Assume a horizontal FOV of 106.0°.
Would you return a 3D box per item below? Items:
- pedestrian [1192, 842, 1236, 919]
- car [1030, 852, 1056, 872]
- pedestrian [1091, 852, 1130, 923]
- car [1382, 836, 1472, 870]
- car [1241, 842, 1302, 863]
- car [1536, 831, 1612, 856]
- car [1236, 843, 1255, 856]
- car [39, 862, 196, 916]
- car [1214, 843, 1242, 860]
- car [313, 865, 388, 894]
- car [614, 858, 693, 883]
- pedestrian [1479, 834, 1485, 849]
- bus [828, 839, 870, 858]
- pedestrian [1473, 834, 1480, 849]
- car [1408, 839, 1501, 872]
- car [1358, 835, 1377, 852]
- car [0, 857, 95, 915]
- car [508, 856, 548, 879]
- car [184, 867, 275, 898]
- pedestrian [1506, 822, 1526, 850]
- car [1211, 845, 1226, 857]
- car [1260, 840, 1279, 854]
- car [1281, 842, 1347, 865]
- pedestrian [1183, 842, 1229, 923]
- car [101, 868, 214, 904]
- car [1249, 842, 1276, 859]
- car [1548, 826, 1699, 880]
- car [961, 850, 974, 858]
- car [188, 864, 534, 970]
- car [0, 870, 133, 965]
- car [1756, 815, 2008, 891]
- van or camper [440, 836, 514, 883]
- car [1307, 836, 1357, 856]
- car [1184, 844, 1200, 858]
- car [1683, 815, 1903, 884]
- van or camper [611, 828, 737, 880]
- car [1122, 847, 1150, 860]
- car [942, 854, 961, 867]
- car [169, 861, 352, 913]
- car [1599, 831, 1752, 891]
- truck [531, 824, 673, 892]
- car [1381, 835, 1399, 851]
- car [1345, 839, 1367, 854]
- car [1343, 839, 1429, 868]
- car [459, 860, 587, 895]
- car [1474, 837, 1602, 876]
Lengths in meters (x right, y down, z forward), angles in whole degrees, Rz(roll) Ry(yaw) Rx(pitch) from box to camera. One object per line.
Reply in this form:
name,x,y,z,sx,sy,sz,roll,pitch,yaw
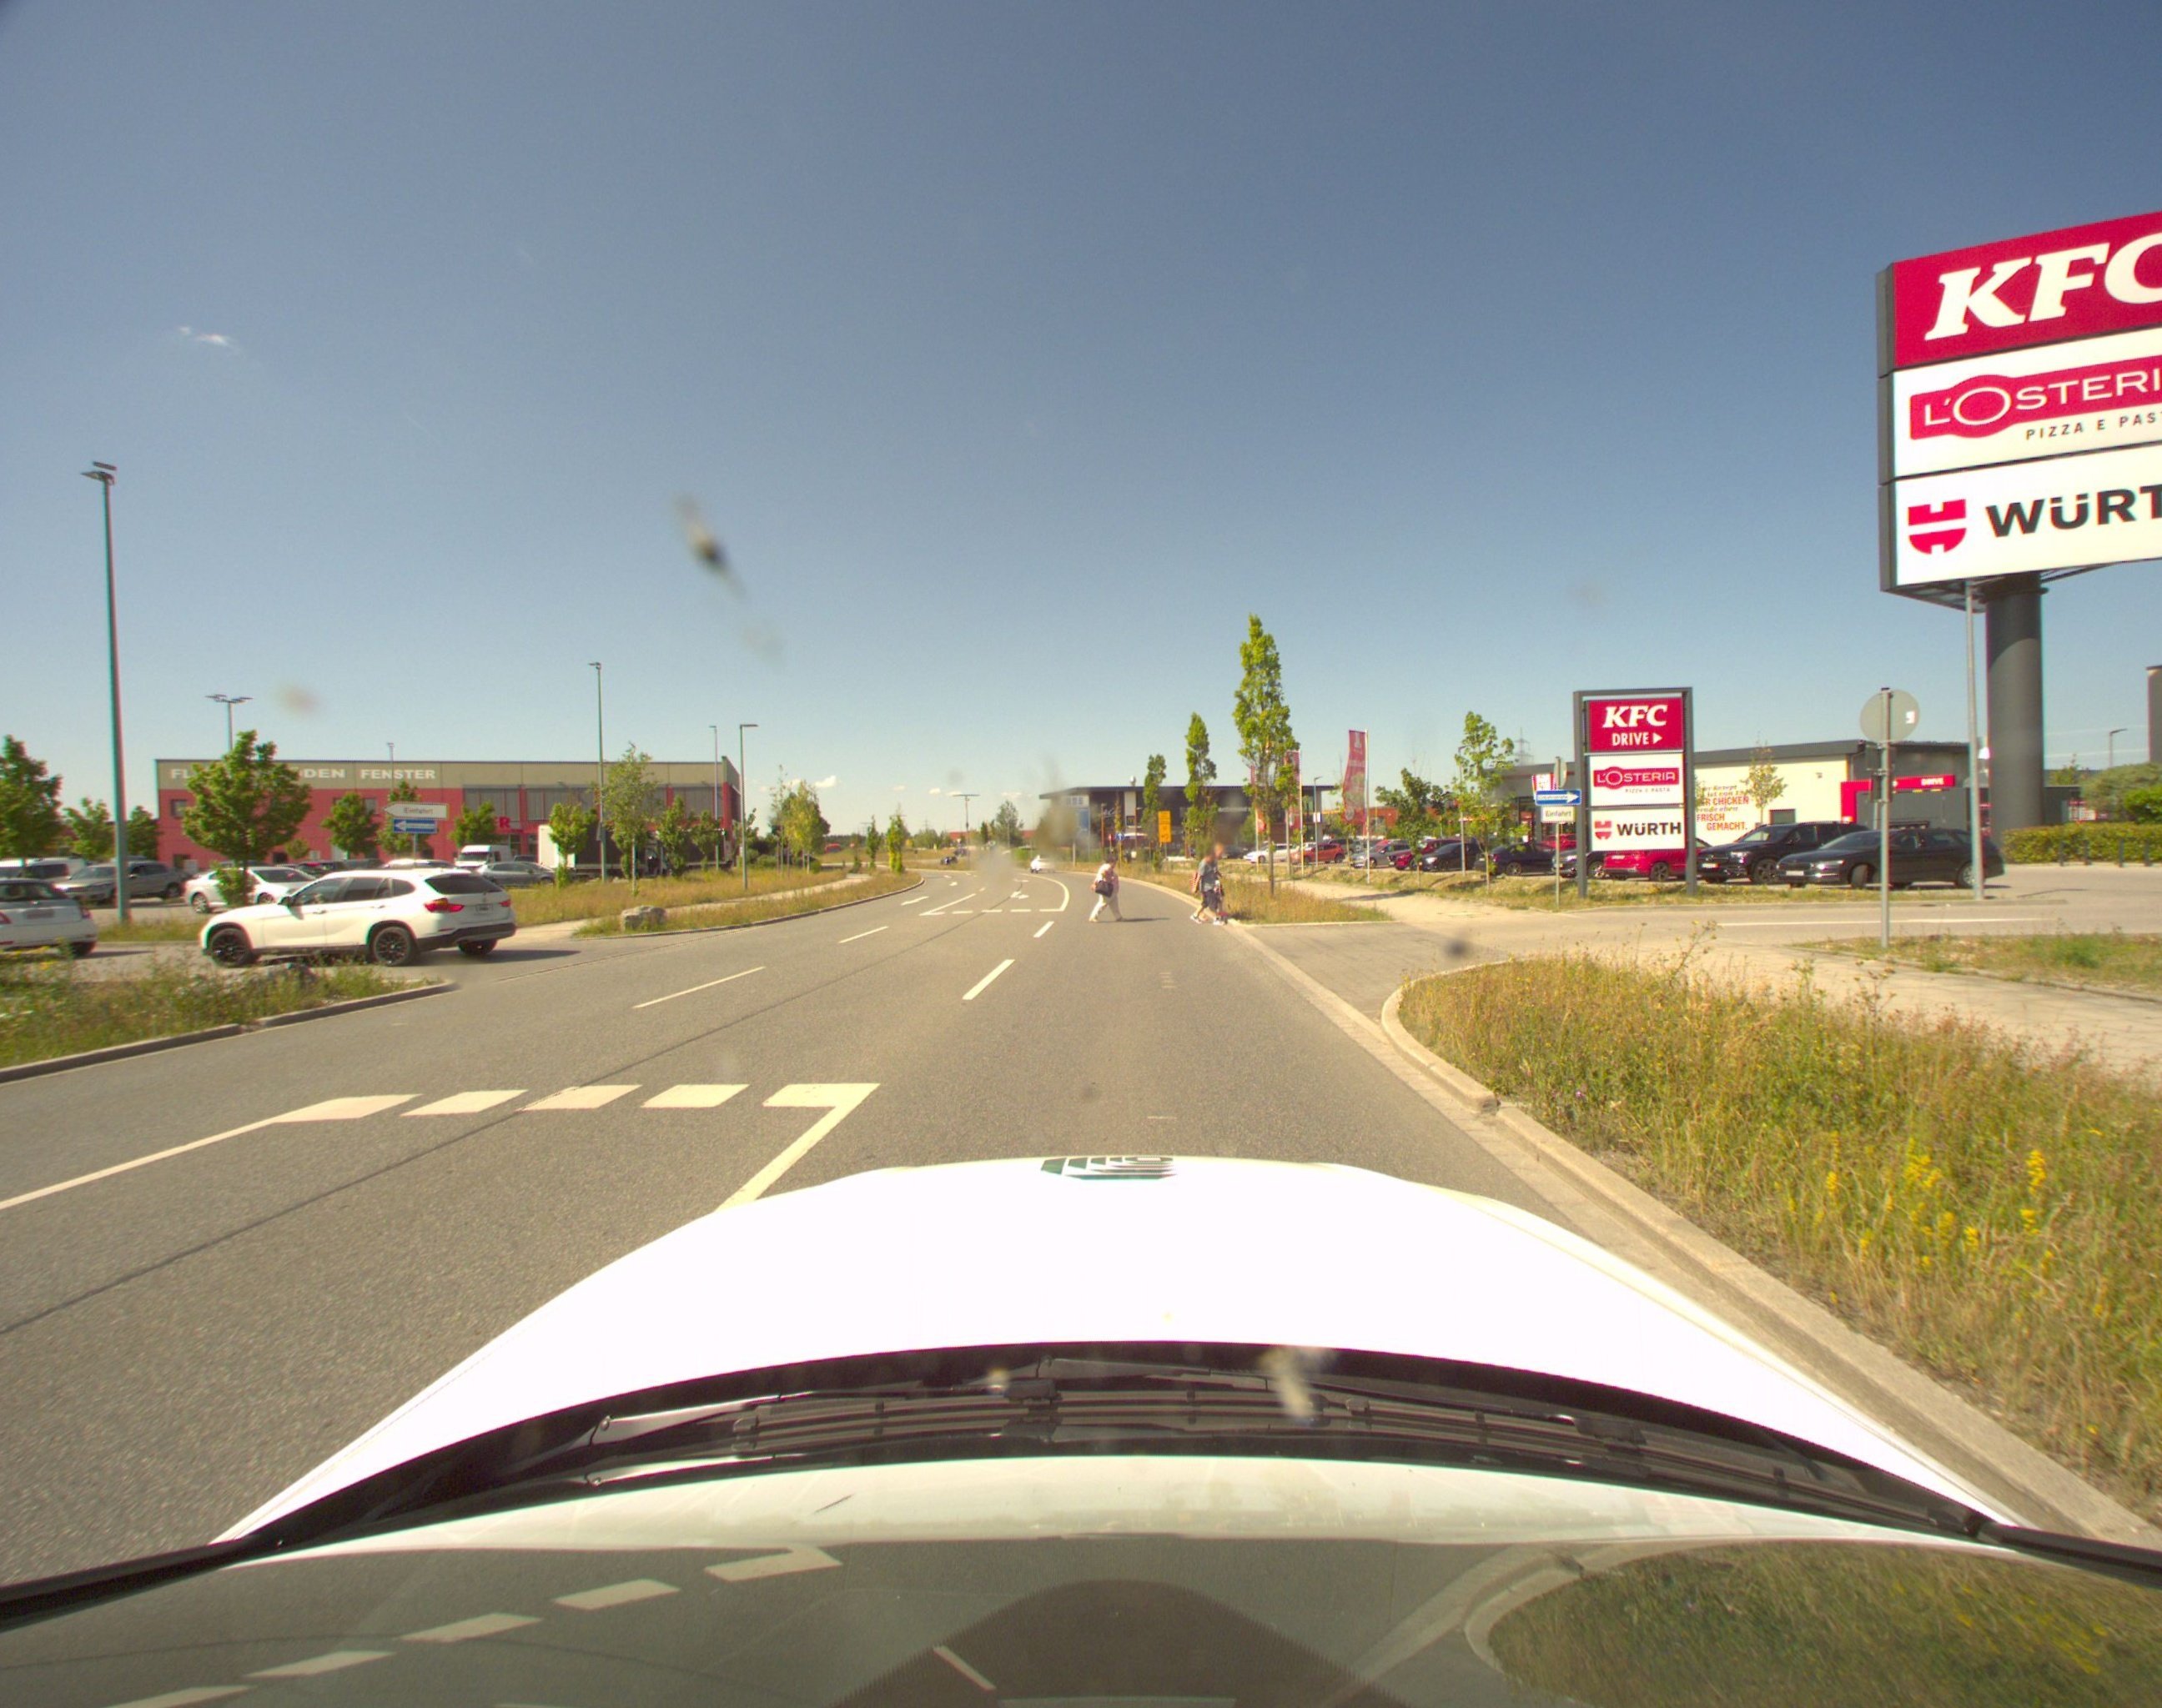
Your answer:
pedestrian,2.868,0.556,17.636,0.798,1.629,0.805,-1,0,1
car,-2.943,0.592,62.605,1.615,1.434,3.782,-2,0,-8
pedestrian,0.619,0.697,17.484,0.790,1.470,0.949,-1,0,1
car,19.037,-0.072,44.850,4.148,1.665,1.865,-3,1,-6
car,15.577,-0.124,66.694,4.531,1.490,1.860,-2,1,-14
car,32.468,-0.709,53.593,4.572,1.431,1.856,-3,1,-21
car,20.891,-0.553,103.213,1.777,1.513,4.020,-2,0,20
car,-36.751,1.260,31.248,1.837,1.823,4.354,-2,0,-19
car,13.982,-0.221,77.096,1.682,1.462,4.192,-2,0,23
car,-42.705,1.443,47.736,1.839,1.562,4.350,-2,0,-21
car,-28.827,1.090,55.008,4.376,1.552,1.828,-2,0,-16
pedestrian,34.722,-1.105,70.521,0.381,1.240,0.290,-2,0,-22
bus,-46.211,-1.198,162.918,2.769,3.078,12.243,-2,2,11
pedestrian,34.046,-1.087,70.092,0.381,1.240,0.290,-2,0,-22
car,19.451,0.057,42.419,4.157,1.449,1.784,-3,1,-12
car,32.747,-1.221,93.130,1.770,1.757,4.192,-2,0,23
car,-39.346,1.156,29.962,1.837,2.064,4.354,-2,0,-19
car,-42.630,1.054,62.856,1.667,1.671,4.053,-2,0,-22
car,-47.857,1.574,45.900,1.839,1.562,4.350,-2,0,-21
pedestrian,32.691,-1.354,61.158,0.915,2.013,0.886,-2,0,-17
car,17.258,-0.422,102.158,1.781,1.434,4.012,-2,0,11
car,24.312,-0.917,104.933,1.777,1.702,4.021,-2,0,21
car,16.979,-0.074,59.333,4.209,1.490,1.860,-2,1,-14
pedestrian,2.578,0.568,16.825,0.806,1.628,0.866,-1,0,1
car,-45.502,1.548,40.257,1.839,1.562,4.350,-2,0,-21
car,17.548,-0.368,78.476,1.770,1.462,4.192,-2,0,23
car,19.904,-0.039,29.962,4.395,1.734,1.790,-3,1,-3
car,-20.491,-0.024,147.172,1.996,1.440,3.981,-2,1,-14
car,-12.053,1.015,13.841,4.195,1.547,1.919,-2,0,2
car,-20.161,1.144,14.708,3.969,1.547,1.920,-2,0,4
car,19.418,-0.037,19.871,4.398,1.566,1.992,-3,1,-5
van or camper,-45.532,0.410,61.635,2.438,3.271,7.186,-2,0,-20
car,23.357,-0.732,75.751,4.171,1.635,1.779,-2,0,-22
car,13.812,-0.409,101.245,1.781,1.604,4.012,-2,0,11
car,20.856,-0.155,23.967,4.973,1.734,1.936,-3,1,-5
van or camper,-29.367,-0.050,59.081,7.705,3.468,2.543,-2,0,-15
car,6.397,-0.023,95.464,1.799,1.434,3.972,-2,0,-20
car,-15.671,0.769,98.379,1.621,1.434,3.768,-2,0,-19
car,-26.694,1.058,26.556,4.578,1.512,1.843,-2,0,9
car,19.900,0.204,27.305,4.415,1.734,1.782,-3,1,-16
truck,-26.966,0.180,46.344,2.300,3.464,7.523,-2,0,14
car,36.699,-1.324,96.638,1.770,1.757,4.192,-2,0,23
car,27.765,-0.785,82.227,1.770,1.451,4.192,-2,0,23
car,18.498,-0.031,49.522,4.555,1.490,1.863,-3,1,-10
car,-25.667,1.066,37.600,4.416,1.383,1.972,-2,0,-5
car,19.313,0.098,34.604,4.382,1.449,1.795,-2,1,7
